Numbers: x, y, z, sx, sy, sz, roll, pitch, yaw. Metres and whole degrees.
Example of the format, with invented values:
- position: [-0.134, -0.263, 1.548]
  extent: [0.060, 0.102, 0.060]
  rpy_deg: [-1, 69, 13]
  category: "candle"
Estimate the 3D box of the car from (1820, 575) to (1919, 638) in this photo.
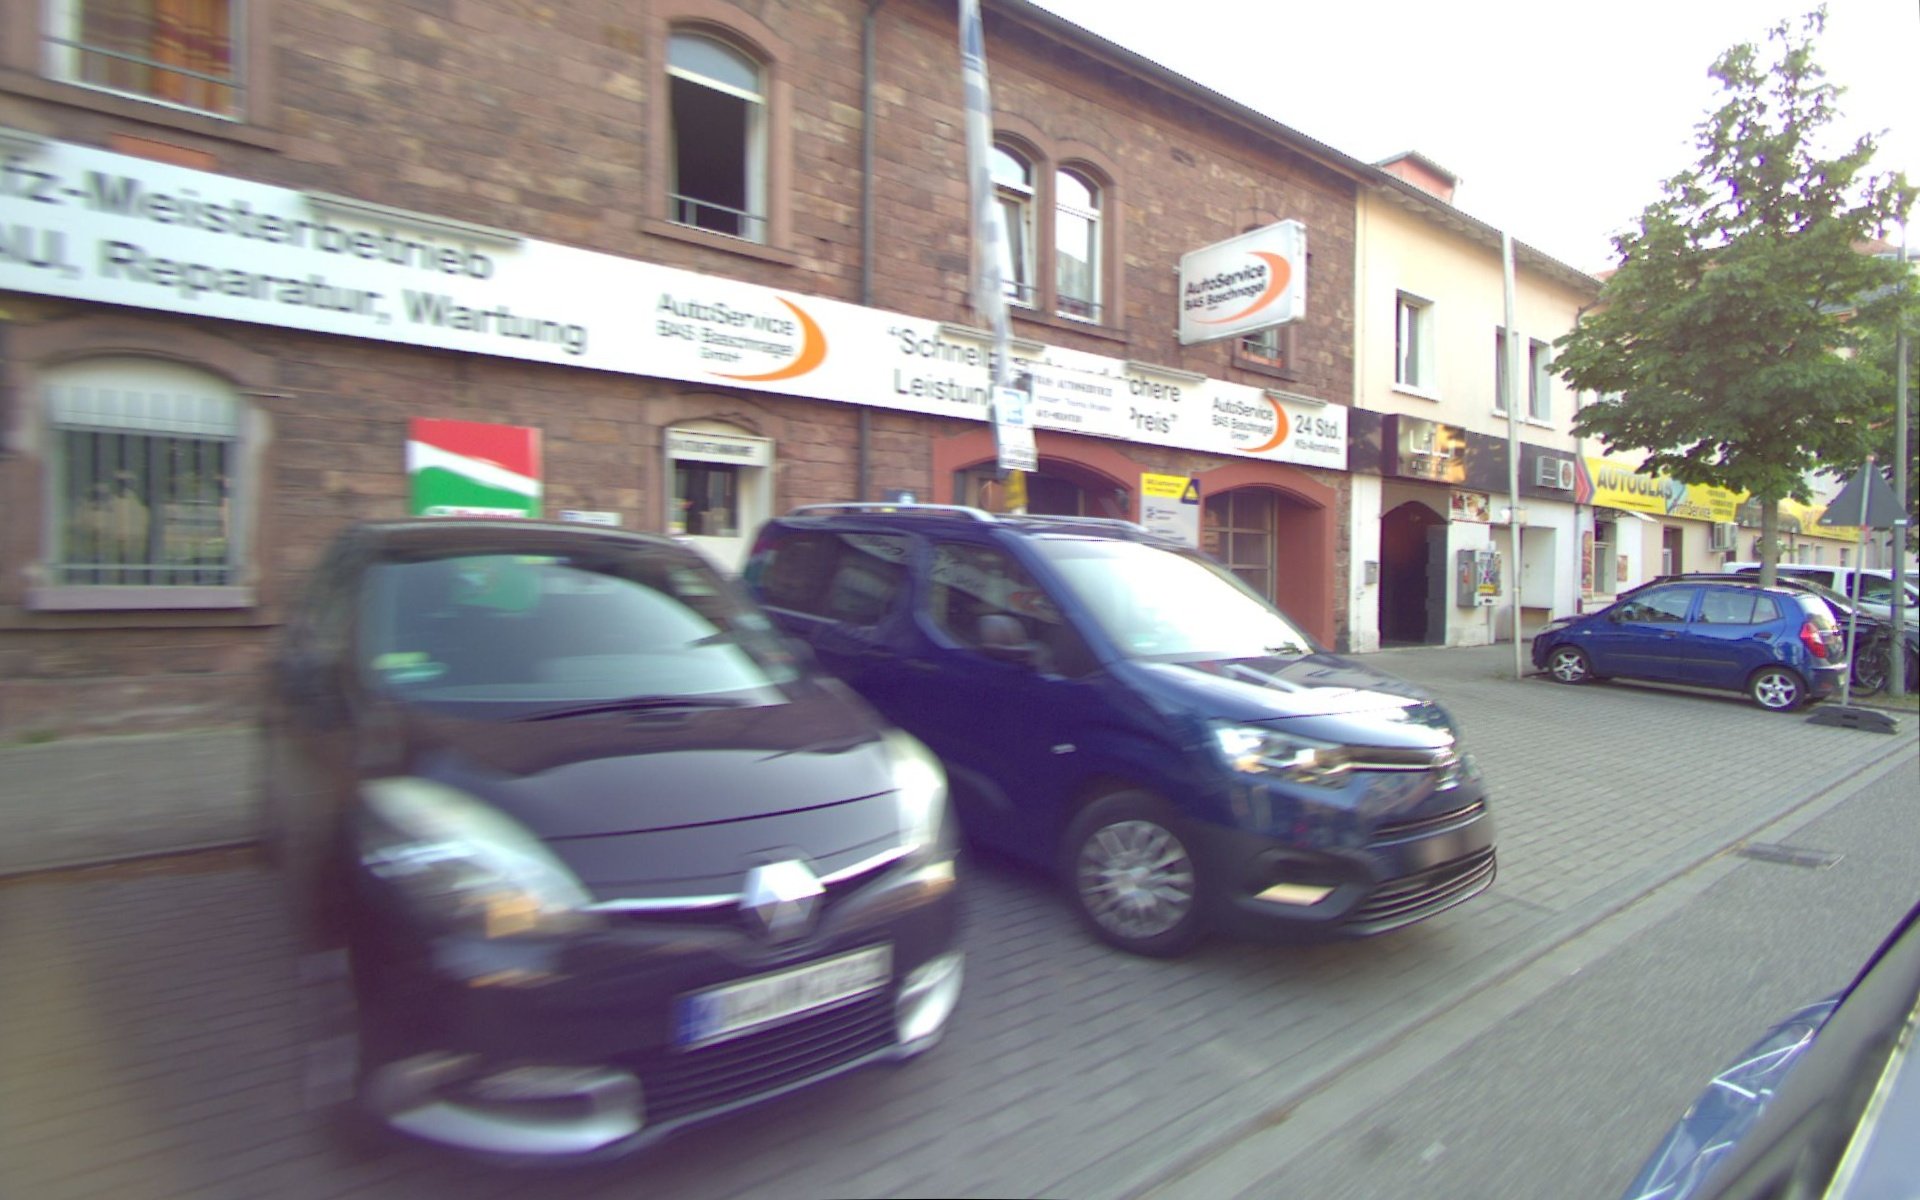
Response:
- position: [25.134, 0.224, 25.650]
  extent: [1.964, 1.514, 4.736]
  rpy_deg: [0, 3, -38]
  category: "car"

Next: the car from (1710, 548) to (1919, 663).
- position: [17.691, 0.092, 19.598]
  extent: [1.974, 1.883, 4.606]
  rpy_deg: [0, 6, -36]
  category: "car"

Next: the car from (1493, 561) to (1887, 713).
- position: [9.884, 0.367, 13.985]
  extent: [1.811, 1.564, 4.000]
  rpy_deg: [0, 5, -38]
  category: "car"

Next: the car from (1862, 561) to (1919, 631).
- position: [27.600, -0.046, 27.412]
  extent: [1.962, 1.881, 4.309]
  rpy_deg: [0, 3, -34]
  category: "car"

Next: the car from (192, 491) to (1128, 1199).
- position: [-1.702, 0.450, 4.015]
  extent: [1.946, 1.594, 4.426]
  rpy_deg: [1, 4, -40]
  category: "car"

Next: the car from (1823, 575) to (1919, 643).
- position: [23.229, 0.243, 24.103]
  extent: [1.650, 1.514, 3.796]
  rpy_deg: [0, 4, -39]
  category: "car"

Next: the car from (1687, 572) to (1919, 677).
- position: [15.850, 0.393, 18.251]
  extent: [1.857, 1.513, 4.002]
  rpy_deg: [0, 5, -36]
  category: "car"

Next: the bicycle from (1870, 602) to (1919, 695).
- position: [13.013, 0.640, 14.044]
  extent: [1.731, 1.207, 0.309]
  rpy_deg: [-1, 1, -39]
  category: "bicycle"

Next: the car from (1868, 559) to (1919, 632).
- position: [29.545, -0.136, 28.923]
  extent: [2.109, 2.127, 4.979]
  rpy_deg: [-1, 2, -33]
  category: "car"

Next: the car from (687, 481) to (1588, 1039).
- position: [0.436, 0.333, 5.688]
  extent: [1.981, 1.775, 4.800]
  rpy_deg: [1, 4, -39]
  category: "car"

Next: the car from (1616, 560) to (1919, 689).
- position: [13.771, 0.321, 16.489]
  extent: [1.962, 1.650, 4.713]
  rpy_deg: [0, 5, -36]
  category: "car"
